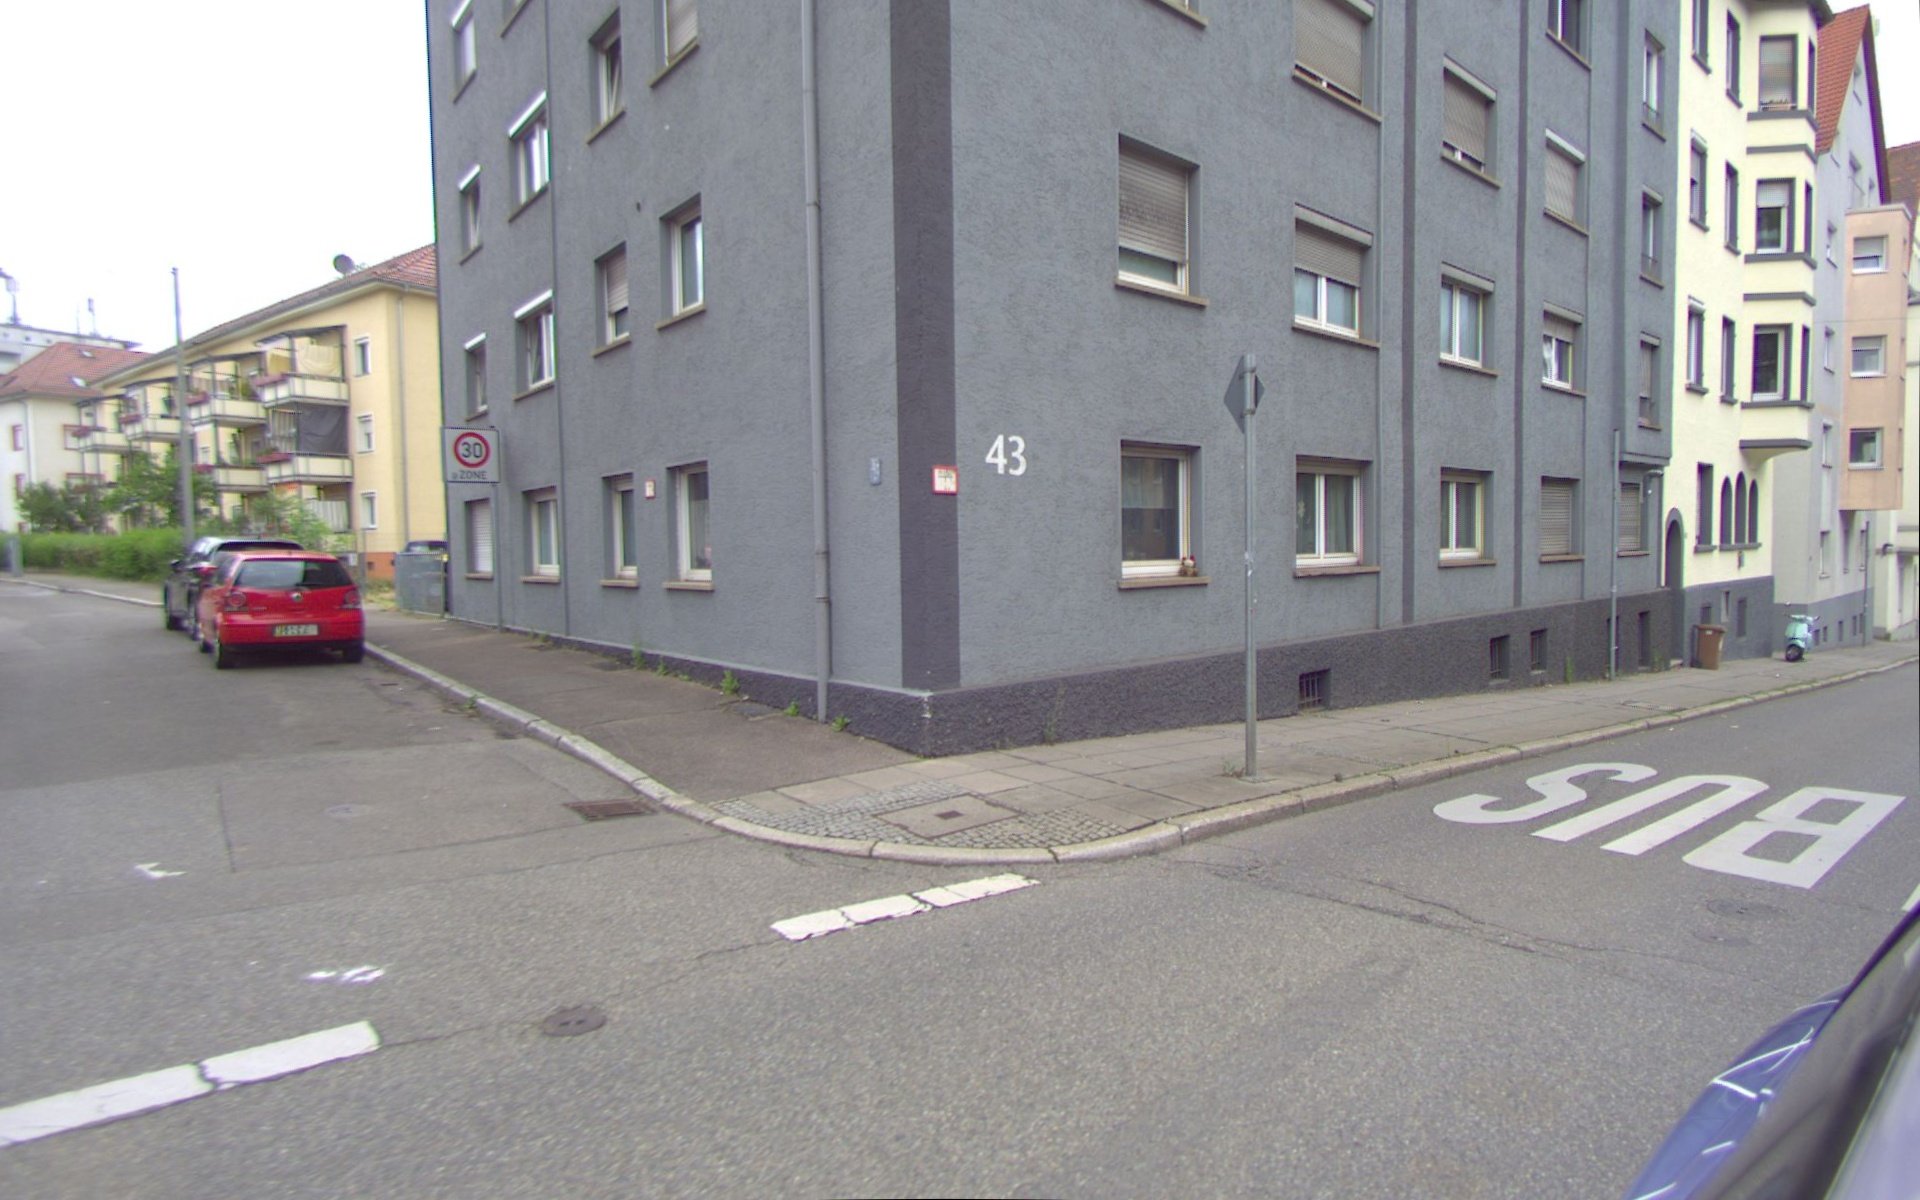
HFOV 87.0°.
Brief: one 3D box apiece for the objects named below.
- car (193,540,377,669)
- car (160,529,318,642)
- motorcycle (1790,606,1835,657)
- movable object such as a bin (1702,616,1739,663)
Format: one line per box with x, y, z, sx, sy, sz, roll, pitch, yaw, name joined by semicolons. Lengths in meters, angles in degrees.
-9.369;-0.029;13.919;1.733;1.482;3.668;0;3;-40;car
-12.584;-0.326;17.556;1.657;1.695;4.112;0;3;-44;car
21.184;0.765;25.141;2.189;1.170;0.538;0;3;-44;motorcycle
15.743;0.814;20.948;0.508;0.903;0.476;1;3;-41;movable object such as a bin
